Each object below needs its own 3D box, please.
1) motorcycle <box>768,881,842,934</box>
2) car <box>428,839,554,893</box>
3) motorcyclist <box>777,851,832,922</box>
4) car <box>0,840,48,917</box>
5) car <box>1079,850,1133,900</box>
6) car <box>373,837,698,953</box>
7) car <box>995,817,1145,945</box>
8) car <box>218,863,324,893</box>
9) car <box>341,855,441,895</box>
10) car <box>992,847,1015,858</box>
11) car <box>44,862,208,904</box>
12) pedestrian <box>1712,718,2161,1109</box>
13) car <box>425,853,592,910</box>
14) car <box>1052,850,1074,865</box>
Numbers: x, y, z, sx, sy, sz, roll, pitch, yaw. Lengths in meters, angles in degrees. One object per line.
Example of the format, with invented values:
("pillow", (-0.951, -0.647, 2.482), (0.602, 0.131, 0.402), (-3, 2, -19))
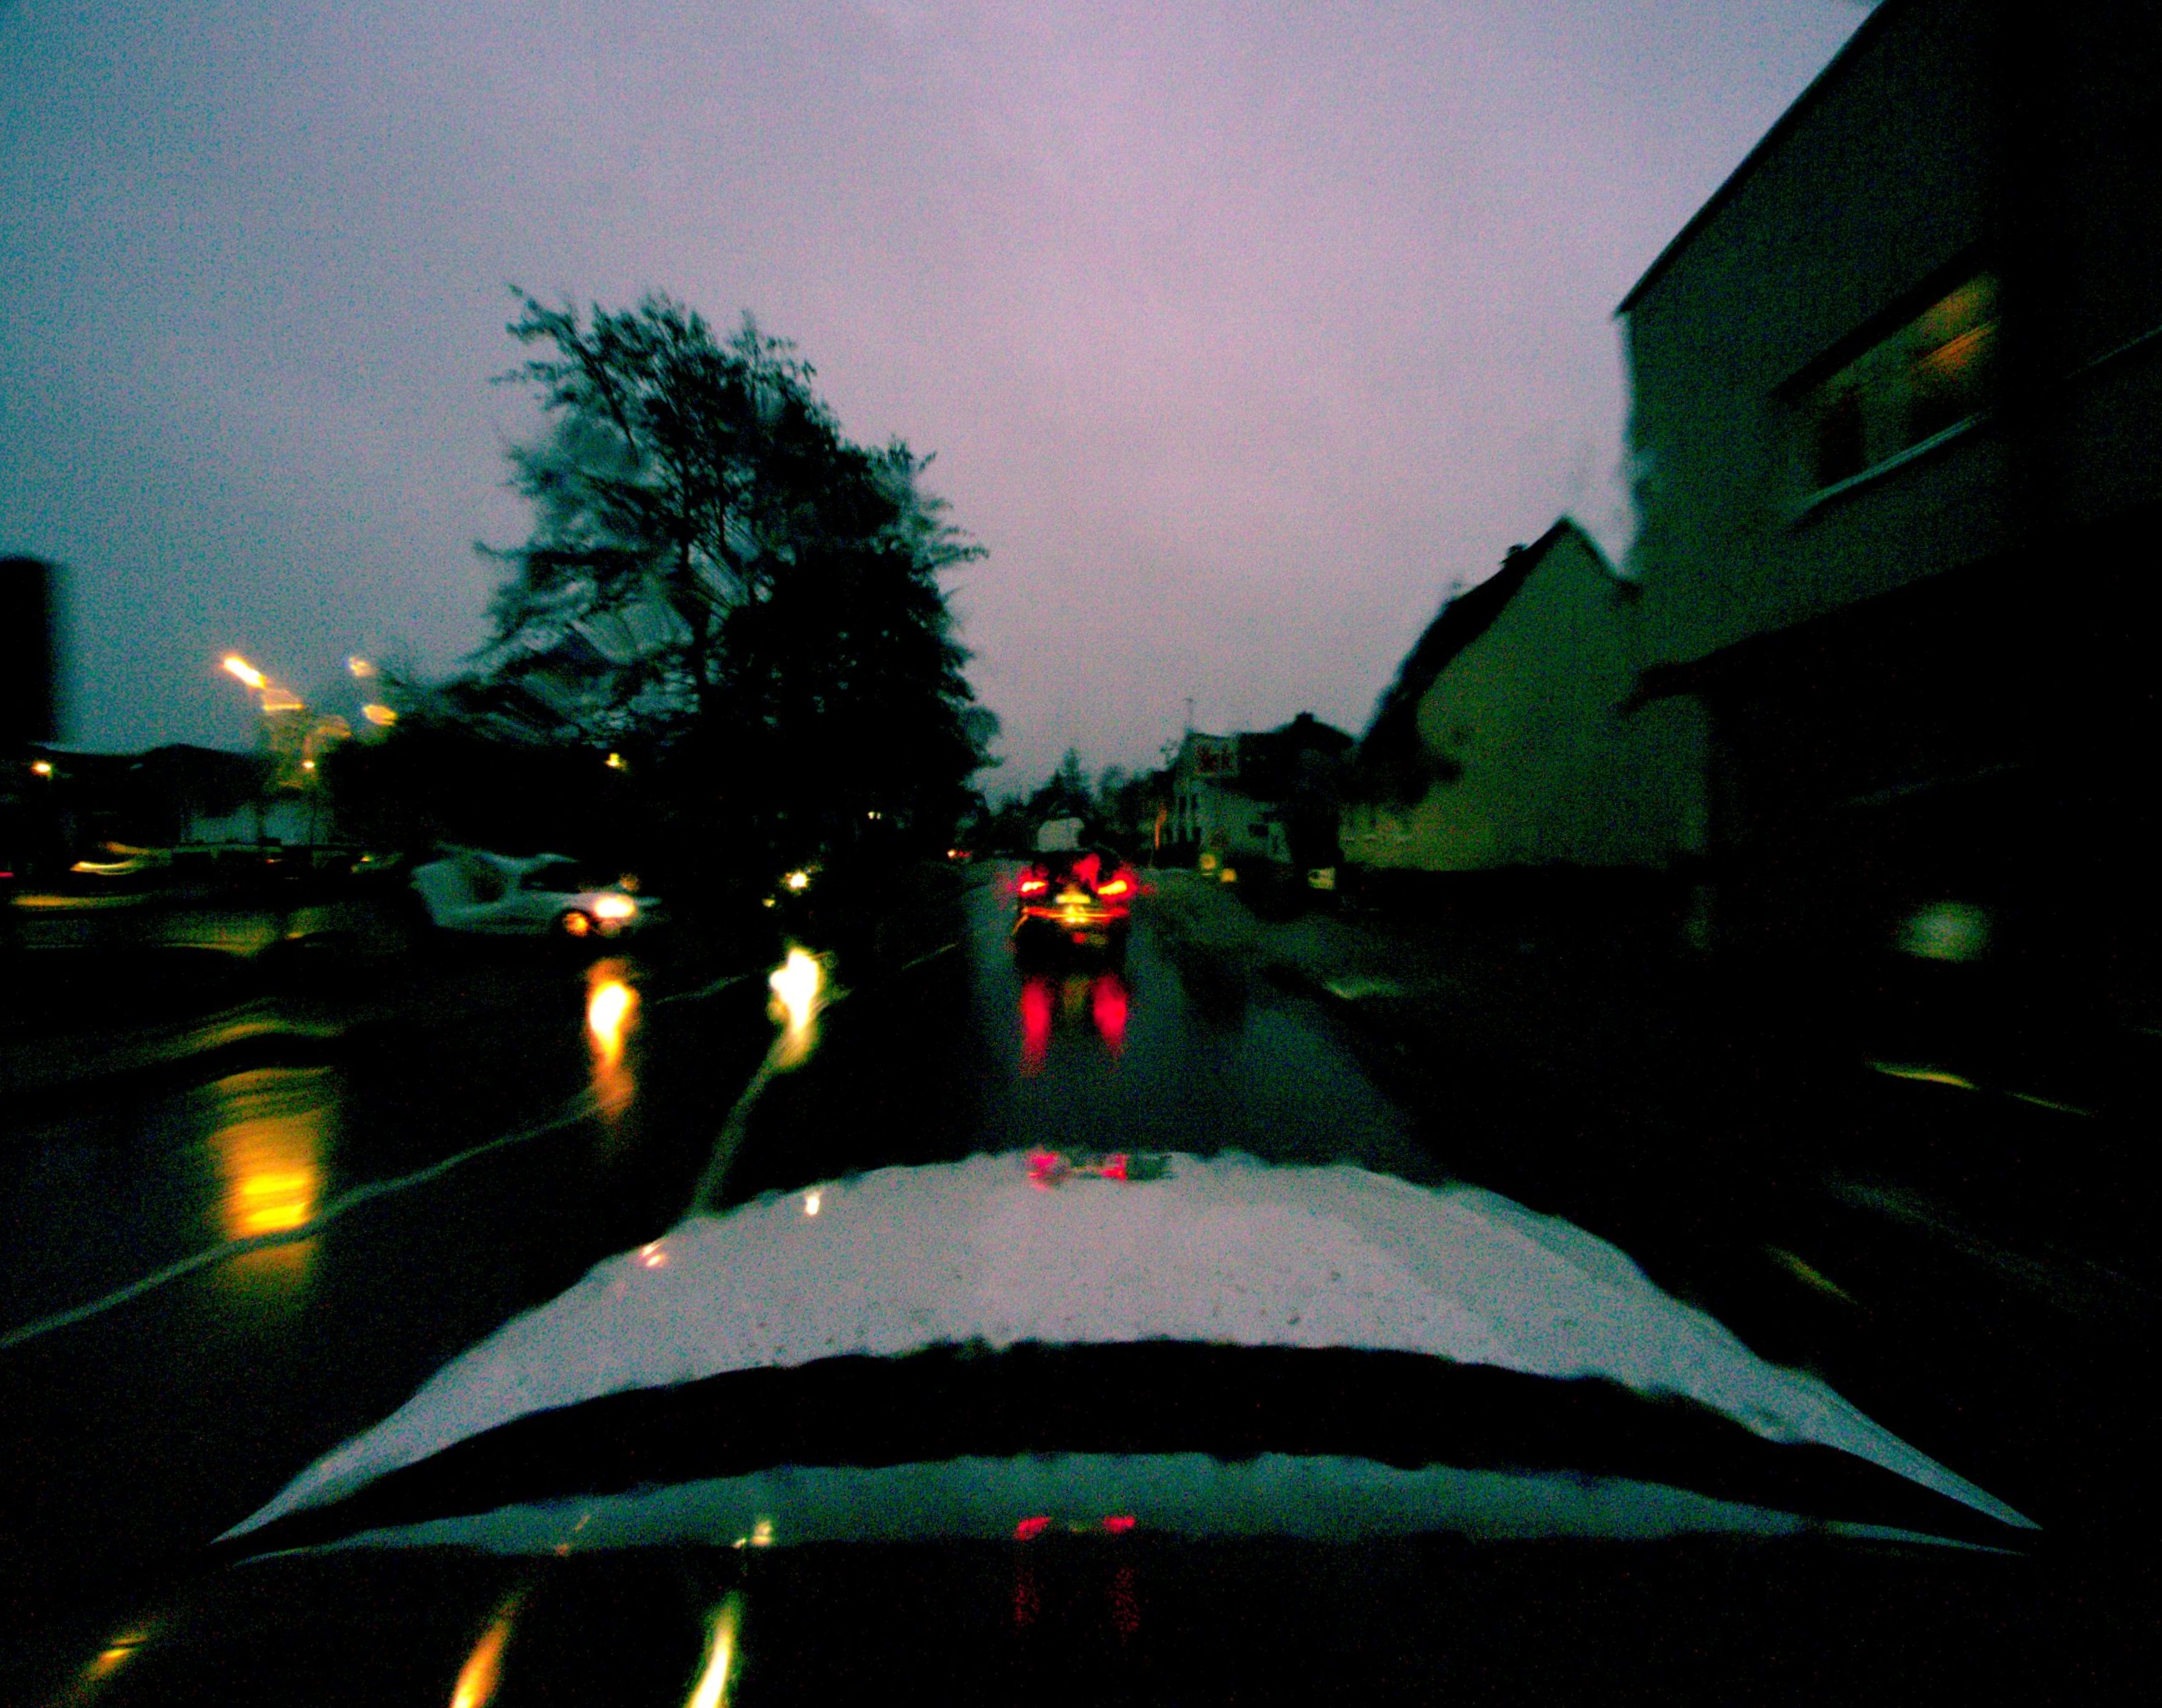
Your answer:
("motorcycle", (-5.949, 1.124, 17.694), (0.862, 1.024, 2.110), (0, 0, 1))
("car", (-27.940, 0.488, 38.832), (2.275, 2.278, 5.266), (1, 2, -2))
("motorcyclist", (-5.945, 0.682, 17.566), (0.862, 1.485, 0.909), (0, 0, 0))
("car", (-25.751, 0.571, 17.316), (4.408, 1.671, 1.962), (-1, 1, -11))
("car", (0.889, 0.709, 29.788), (1.851, 1.647, 4.000), (0, 1, 0))
("car", (-9.155, 0.658, 13.949), (4.211, 1.699, 1.900), (2, 0, 1))
("car", (-0.161, 0.427, 15.219), (2.302, 1.938, 5.017), (-1, 0, 0))
("car", (-37.321, 1.074, 37.638), (1.556, 1.130, 3.391), (2, 2, -2))
("car", (-32.846, 0.955, 38.895), (1.690, 1.639, 3.708), (2, 2, -2))
("car", (-15.164, -0.264, 158.899), (4.250, 2.013, 1.803), (-2, 0, -12))
("car", (-43.343, 1.281, 37.164), (2.042, 1.568, 4.658), (1, 2, -2))
("pedestrian", (4.740, 0.295, 4.637), (1.248, 1.866, 1.305), (-3, 0, 5))
("car", (-21.420, 1.015, 30.697), (4.645, 1.976, 2.122), (1, 2, -10))
("car", (-1.798, 0.320, 78.826), (1.839, 1.331, 3.930), (-2, 0, -5))
